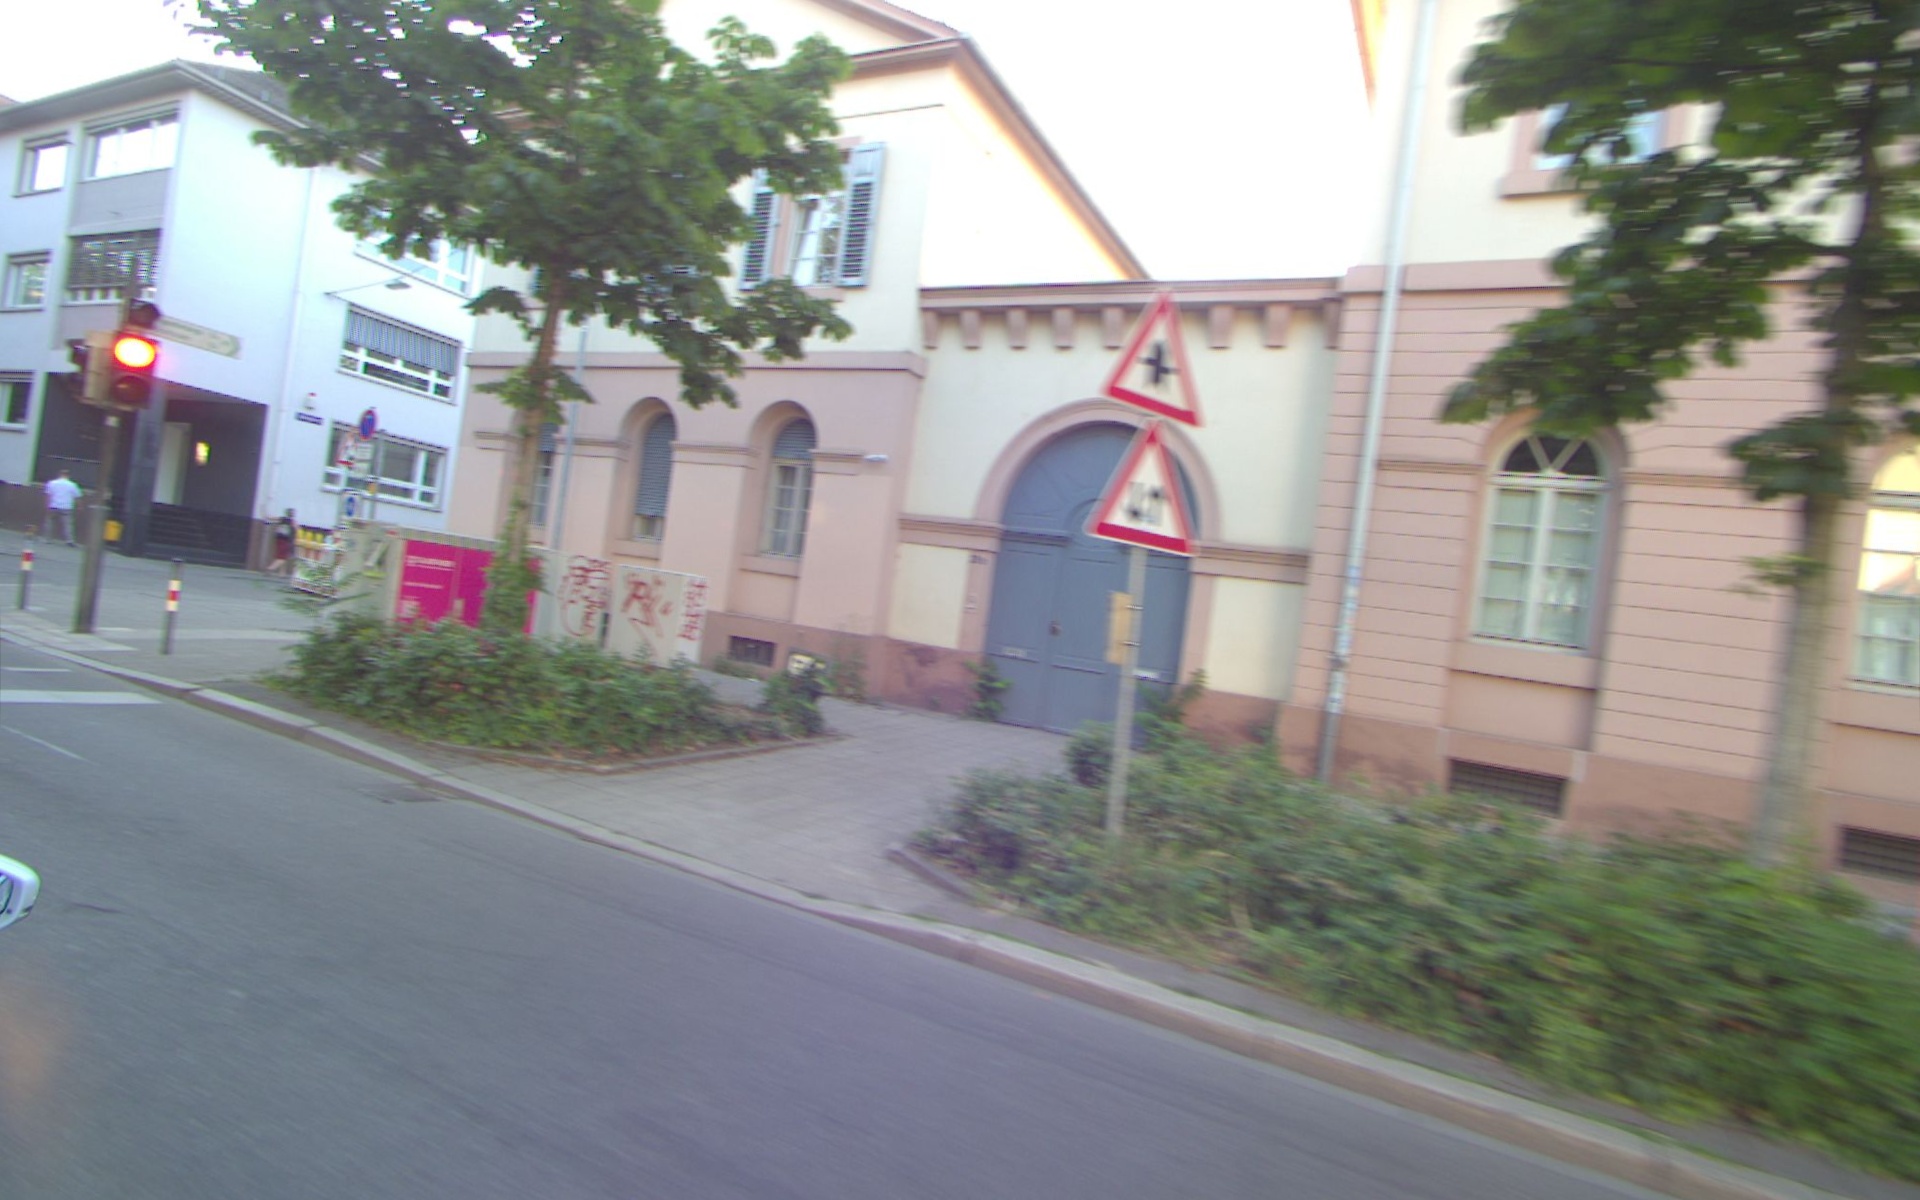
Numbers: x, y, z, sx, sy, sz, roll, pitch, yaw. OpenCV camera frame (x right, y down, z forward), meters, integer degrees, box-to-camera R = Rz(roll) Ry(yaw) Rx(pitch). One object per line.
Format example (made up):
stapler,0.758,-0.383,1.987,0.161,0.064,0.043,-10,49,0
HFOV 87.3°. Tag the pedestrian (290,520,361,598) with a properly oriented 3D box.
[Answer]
pedestrian,-14.327,-0.916,22.721,0.689,1.575,0.979,8,-1,29

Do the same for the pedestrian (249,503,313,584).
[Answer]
pedestrian,-16.484,-1.363,24.430,0.917,1.772,0.770,8,0,29

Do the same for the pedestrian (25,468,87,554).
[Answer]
pedestrian,-20.359,-2.002,22.659,0.688,1.772,0.705,8,0,32
